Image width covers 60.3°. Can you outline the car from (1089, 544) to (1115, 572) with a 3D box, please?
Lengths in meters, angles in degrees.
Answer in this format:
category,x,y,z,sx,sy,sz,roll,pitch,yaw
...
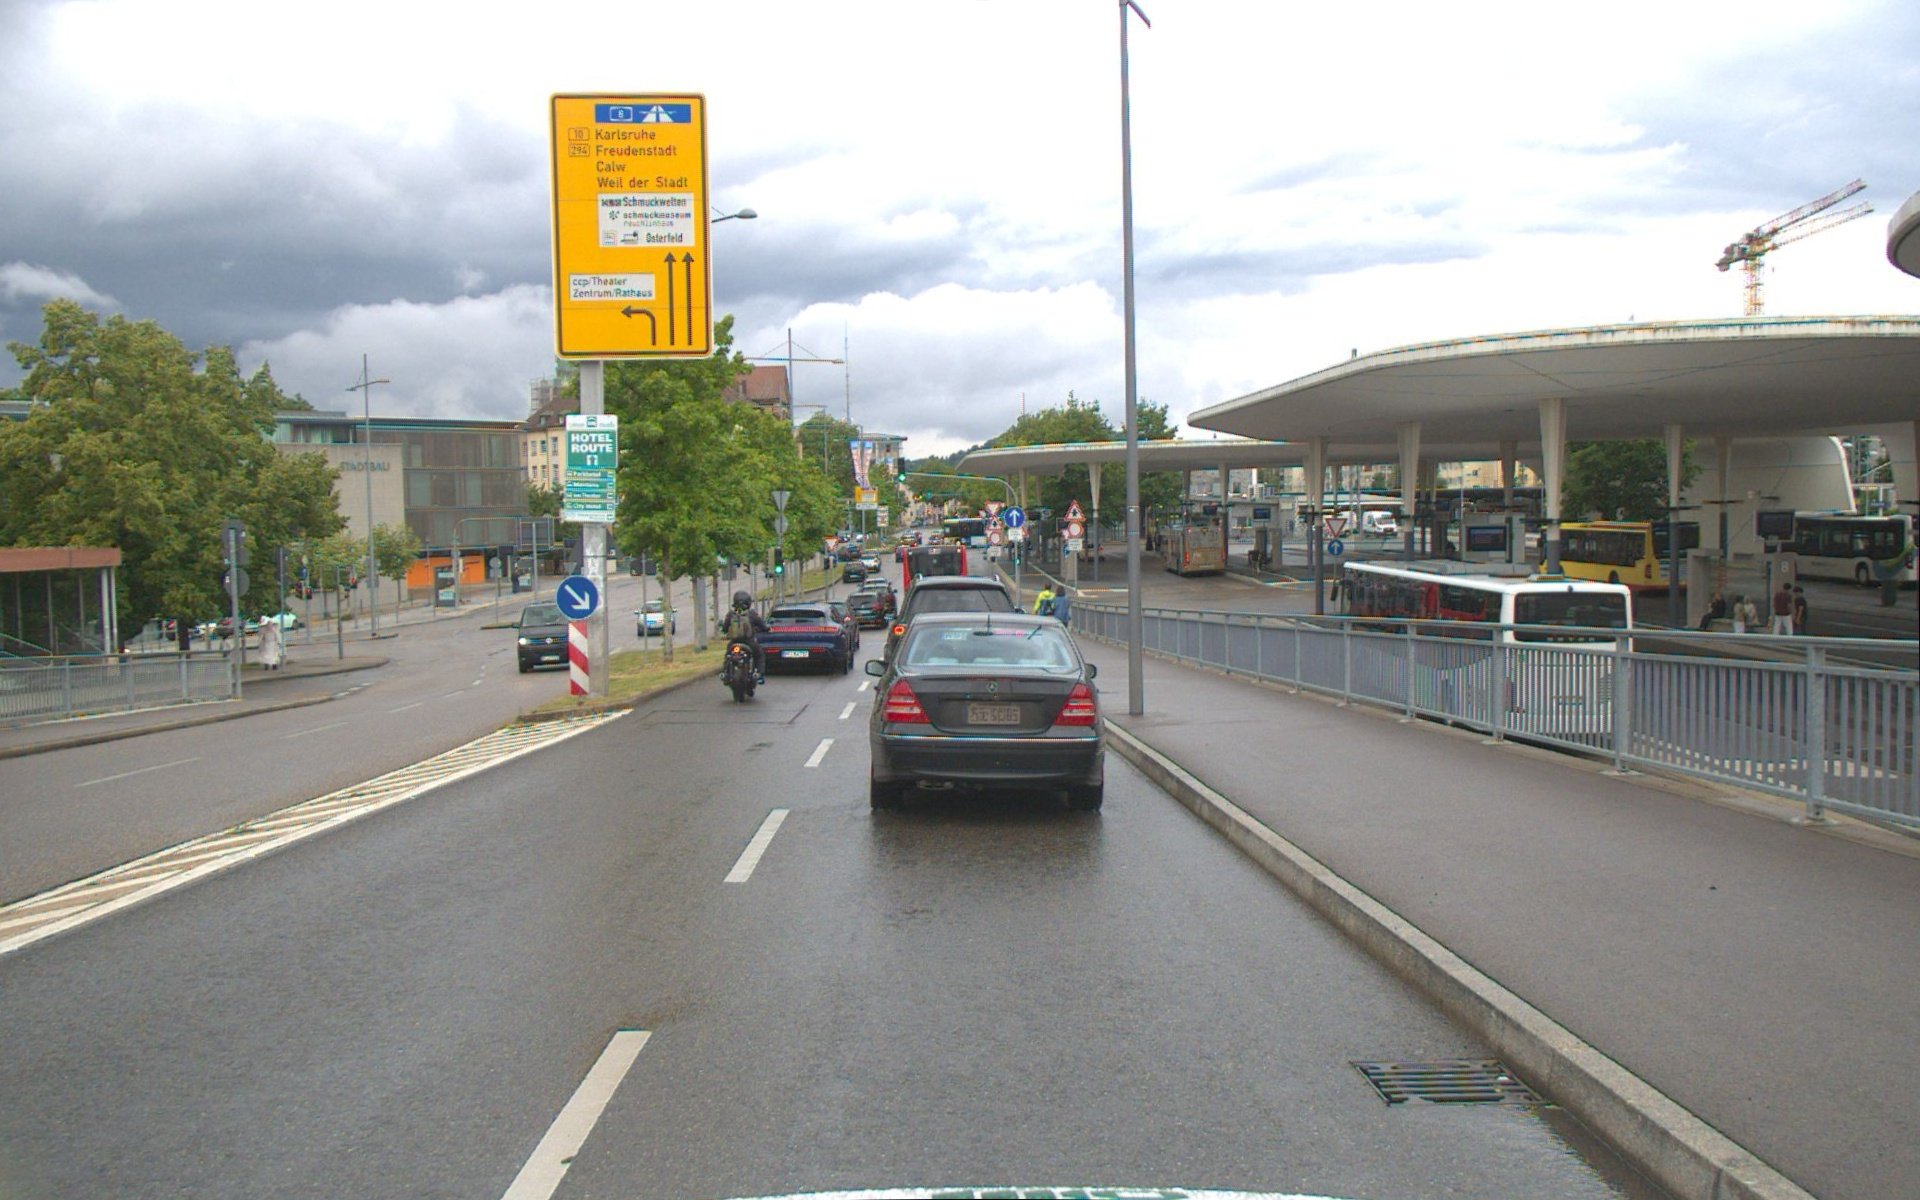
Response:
category,x,y,z,sx,sy,sz,roll,pitch,yaw
car,11.091,-3.272,129.328,1.951,2.048,4.003,-1,1,5

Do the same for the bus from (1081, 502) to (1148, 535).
category,x,y,z,sx,sy,sz,roll,pitch,yaw
bus,17.378,-9.209,186.384,7.057,3.455,3.079,-2,2,-5

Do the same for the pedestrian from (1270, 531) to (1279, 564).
category,x,y,z,sx,sy,sz,roll,pitch,yaw
pedestrian,19.858,-3.344,104.461,0.415,2.049,0.483,-1,-2,1

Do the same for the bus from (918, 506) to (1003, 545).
category,x,y,z,sx,sy,sz,roll,pitch,yaw
bus,-0.003,-8.238,180.827,3.235,4.076,10.743,-5,5,-38

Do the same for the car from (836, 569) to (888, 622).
category,x,y,z,sx,sy,sz,roll,pitch,yaw
car,-3.921,-0.195,66.483,1.953,2.041,3.999,0,1,-2

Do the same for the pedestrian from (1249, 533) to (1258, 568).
category,x,y,z,sx,sy,sz,roll,pitch,yaw
pedestrian,17.605,-2.974,99.346,0.415,2.049,0.483,-1,1,1

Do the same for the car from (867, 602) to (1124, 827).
category,x,y,z,sx,sy,sz,roll,pitch,yaw
car,0.302,0.746,12.632,1.670,1.444,3.727,0,0,2

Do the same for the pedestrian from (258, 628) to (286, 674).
category,x,y,z,sx,sy,sz,roll,pitch,yaw
pedestrian,-22.613,1.673,54.397,0.634,1.433,0.531,-1,2,2

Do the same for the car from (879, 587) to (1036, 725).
category,x,y,z,sx,sy,sz,roll,pitch,yaw
car,0.058,0.691,23.030,1.788,1.716,4.003,0,1,6

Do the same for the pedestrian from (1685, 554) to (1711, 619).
category,x,y,z,sx,sy,sz,roll,pitch,yaw
pedestrian,23.601,-0.432,52.914,0.532,2.049,0.579,-1,1,0

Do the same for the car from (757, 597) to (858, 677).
category,x,y,z,sx,sy,sz,roll,pitch,yaw
car,-3.038,0.707,33.695,1.724,1.461,4.000,0,1,-1

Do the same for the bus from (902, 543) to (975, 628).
category,x,y,z,sx,sy,sz,roll,pitch,yaw
bus,-0.923,-0.594,68.138,2.770,3.245,10.307,0,0,-1

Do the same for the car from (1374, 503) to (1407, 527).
category,x,y,z,sx,sy,sz,roll,pitch,yaw
car,39.914,-7.866,153.425,1.953,2.048,4.000,-2,2,-1

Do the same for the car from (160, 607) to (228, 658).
category,x,y,z,sx,sy,sz,roll,pitch,yaw
car,-35.525,1.483,76.647,1.979,2.048,3.948,3,1,-37

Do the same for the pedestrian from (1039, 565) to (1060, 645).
category,x,y,z,sx,sy,sz,roll,pitch,yaw
pedestrian,2.321,0.134,42.978,0.479,2.049,0.469,-1,-2,1

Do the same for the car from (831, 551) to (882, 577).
category,x,y,z,sx,sy,sz,roll,pitch,yaw
car,-8.407,-2.925,134.693,3.903,2.048,2.001,-1,1,3

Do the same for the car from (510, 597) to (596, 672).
category,x,y,z,sx,sy,sz,roll,pitch,yaw
car,-11.870,0.993,48.461,1.956,2.049,4.195,-1,-1,-8

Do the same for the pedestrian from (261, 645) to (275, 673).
category,x,y,z,sx,sy,sz,roll,pitch,yaw
pedestrian,-22.748,1.950,54.354,0.294,0.888,0.298,-1,2,2

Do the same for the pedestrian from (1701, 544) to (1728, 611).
category,x,y,z,sx,sy,sz,roll,pitch,yaw
pedestrian,23.430,-0.689,51.387,0.532,2.049,0.579,-1,1,0

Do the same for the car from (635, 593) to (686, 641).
category,x,y,z,sx,sy,sz,roll,pitch,yaw
car,-13.335,0.754,73.830,1.956,2.049,4.195,-1,-1,-8

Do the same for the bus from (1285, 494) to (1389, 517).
category,x,y,z,sx,sy,sz,roll,pitch,yaw
bus,37.806,-9.462,165.804,9.967,2.048,2.168,-1,1,-4

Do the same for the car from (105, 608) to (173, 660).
category,x,y,z,sx,sy,sz,roll,pitch,yaw
car,-37.215,1.527,74.896,1.979,2.048,3.948,3,1,-37

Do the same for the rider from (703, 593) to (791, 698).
category,x,y,z,sx,sy,sz,roll,pitch,yaw
rider,-3.206,0.655,25.148,0.862,1.497,2.197,1,1,5

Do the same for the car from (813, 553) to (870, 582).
category,x,y,z,sx,sy,sz,roll,pitch,yaw
car,-8.627,-2.377,120.457,3.903,2.048,2.001,-1,1,3

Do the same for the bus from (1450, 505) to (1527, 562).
category,x,y,z,sx,sy,sz,roll,pitch,yaw
bus,31.960,-4.028,100.294,2.546,3.265,6.996,-1,2,1

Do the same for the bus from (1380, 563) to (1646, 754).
category,x,y,z,sx,sy,sz,roll,pitch,yaw
bus,11.021,0.993,33.755,2.594,3.292,7.067,-2,2,-4

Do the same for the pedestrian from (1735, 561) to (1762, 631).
category,x,y,z,sx,sy,sz,roll,pitch,yaw
pedestrian,23.398,-0.131,49.089,0.549,2.049,0.483,-1,1,1

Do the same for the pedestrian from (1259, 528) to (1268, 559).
category,x,y,z,sx,sy,sz,roll,pitch,yaw
pedestrian,19.781,-3.677,107.768,0.415,2.049,0.483,-1,1,1

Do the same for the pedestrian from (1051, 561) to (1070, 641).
category,x,y,z,sx,sy,sz,roll,pitch,yaw
pedestrian,2.615,0.028,43.056,0.415,2.049,0.483,-1,-2,1

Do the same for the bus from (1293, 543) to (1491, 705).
category,x,y,z,sx,sy,sz,roll,pitch,yaw
bus,10.472,0.422,40.856,2.594,3.291,7.069,-2,4,-4

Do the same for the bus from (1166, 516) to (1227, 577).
category,x,y,z,sx,sy,sz,roll,pitch,yaw
bus,15.277,-3.375,107.557,3.112,3.663,10.516,-1,1,4
